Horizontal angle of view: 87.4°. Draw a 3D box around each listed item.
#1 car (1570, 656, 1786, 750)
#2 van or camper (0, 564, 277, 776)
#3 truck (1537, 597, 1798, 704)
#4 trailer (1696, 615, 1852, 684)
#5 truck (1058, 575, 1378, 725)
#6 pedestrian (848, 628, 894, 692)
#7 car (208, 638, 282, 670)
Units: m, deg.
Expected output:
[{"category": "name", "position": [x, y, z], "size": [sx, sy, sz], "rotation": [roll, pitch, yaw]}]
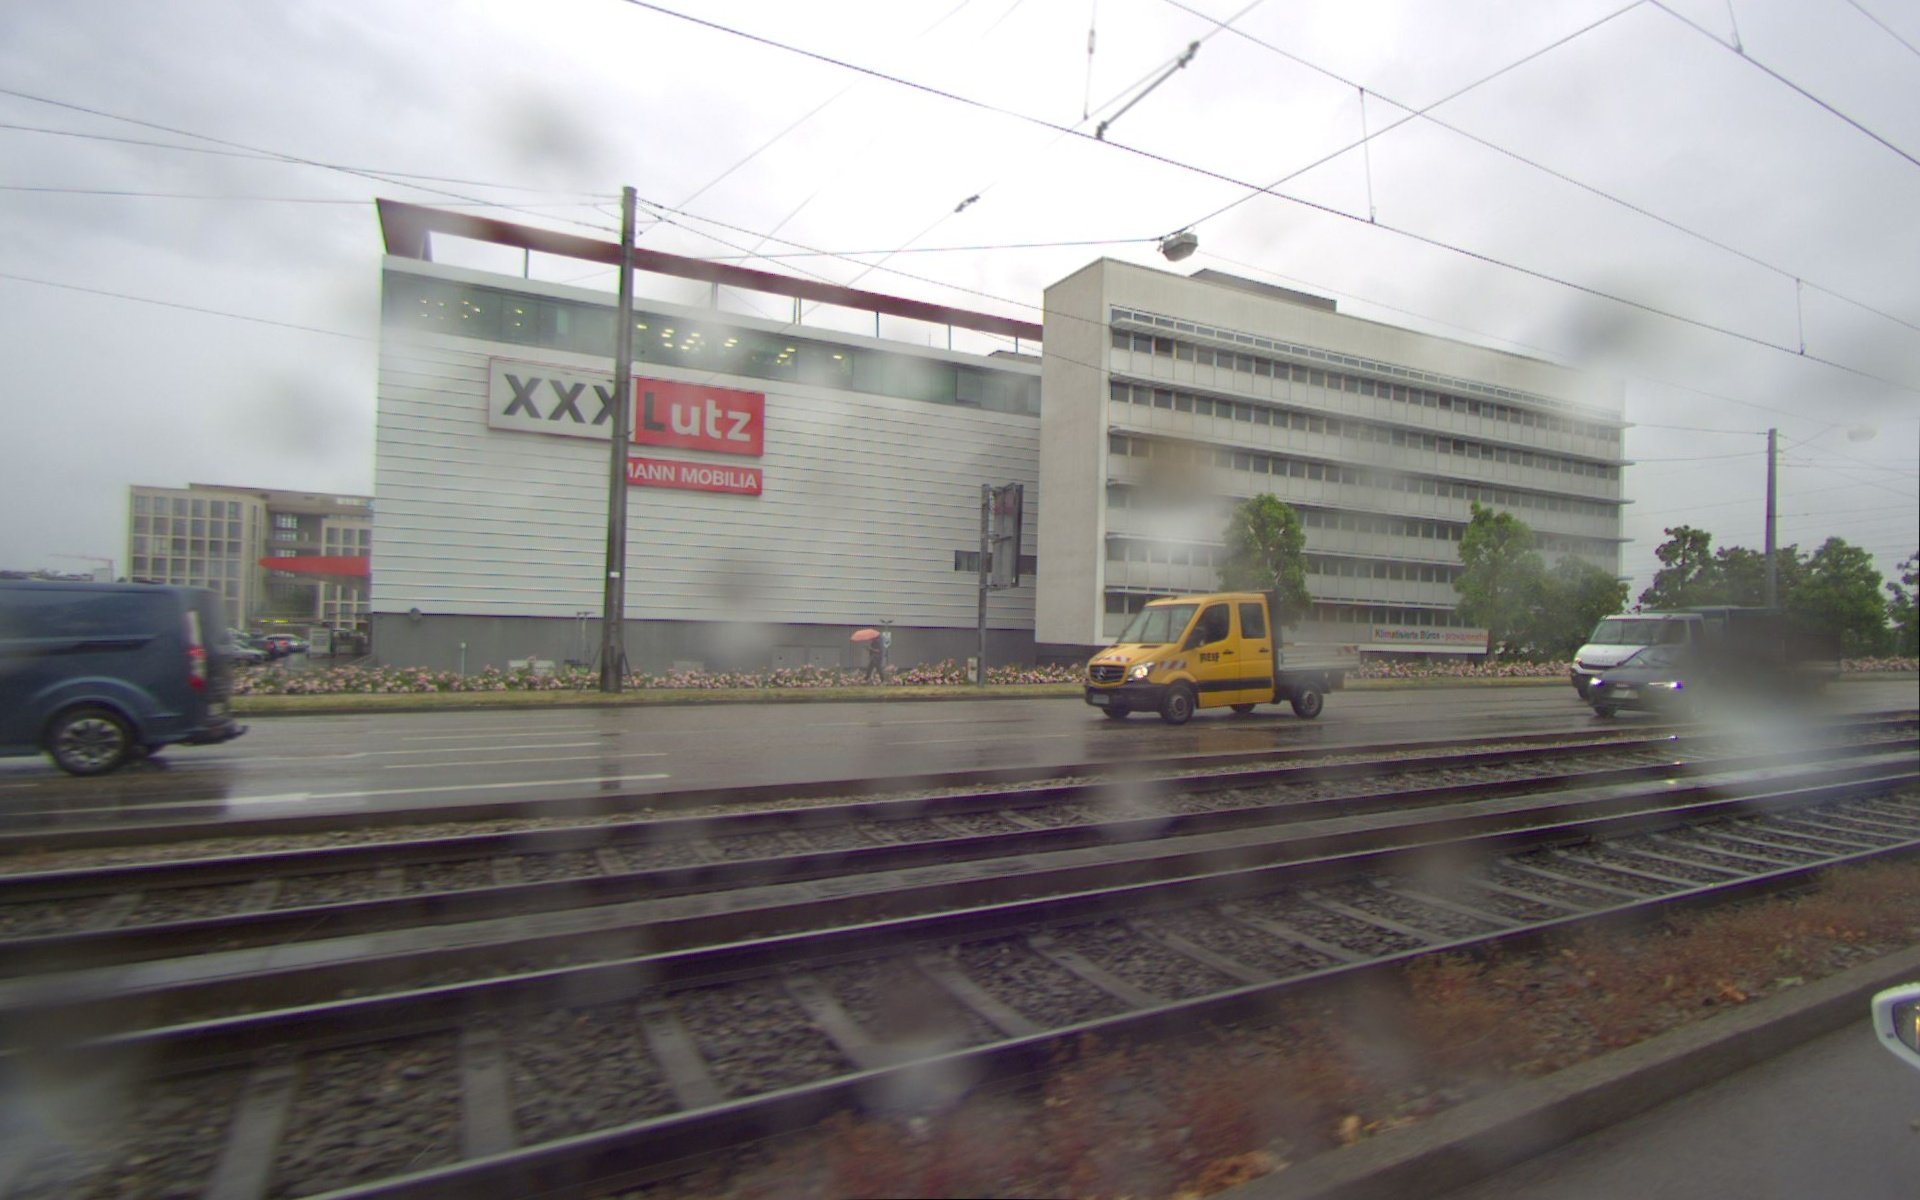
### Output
[{"category": "car", "position": [14.486, 1.984, 20.223], "size": [4.481, 1.644, 1.811], "rotation": [2, -1, -29]}, {"category": "van or camper", "position": [-10.568, 0.676, 10.295], "size": [5.616, 2.040, 2.295], "rotation": [2, -2, -29]}, {"category": "truck", "position": [18.749, 1.310, 26.543], "size": [7.123, 2.490, 2.427], "rotation": [2, 1, -26]}, {"category": "trailer", "position": [23.756, 1.425, 29.323], "size": [3.786, 1.817, 2.112], "rotation": [2, 1, -26]}, {"category": "truck", "position": [4.950, 0.959, 19.047], "size": [5.992, 2.493, 2.218], "rotation": [2, -3, -29]}, {"category": "pedestrian", "position": [-2.602, 1.748, 29.265], "size": [1.036, 1.786, 0.820], "rotation": [2, 1, -27]}, {"category": "car", "position": [-48.864, 3.673, 68.769], "size": [3.956, 2.040, 1.982], "rotation": [2, 0, -32]}]
